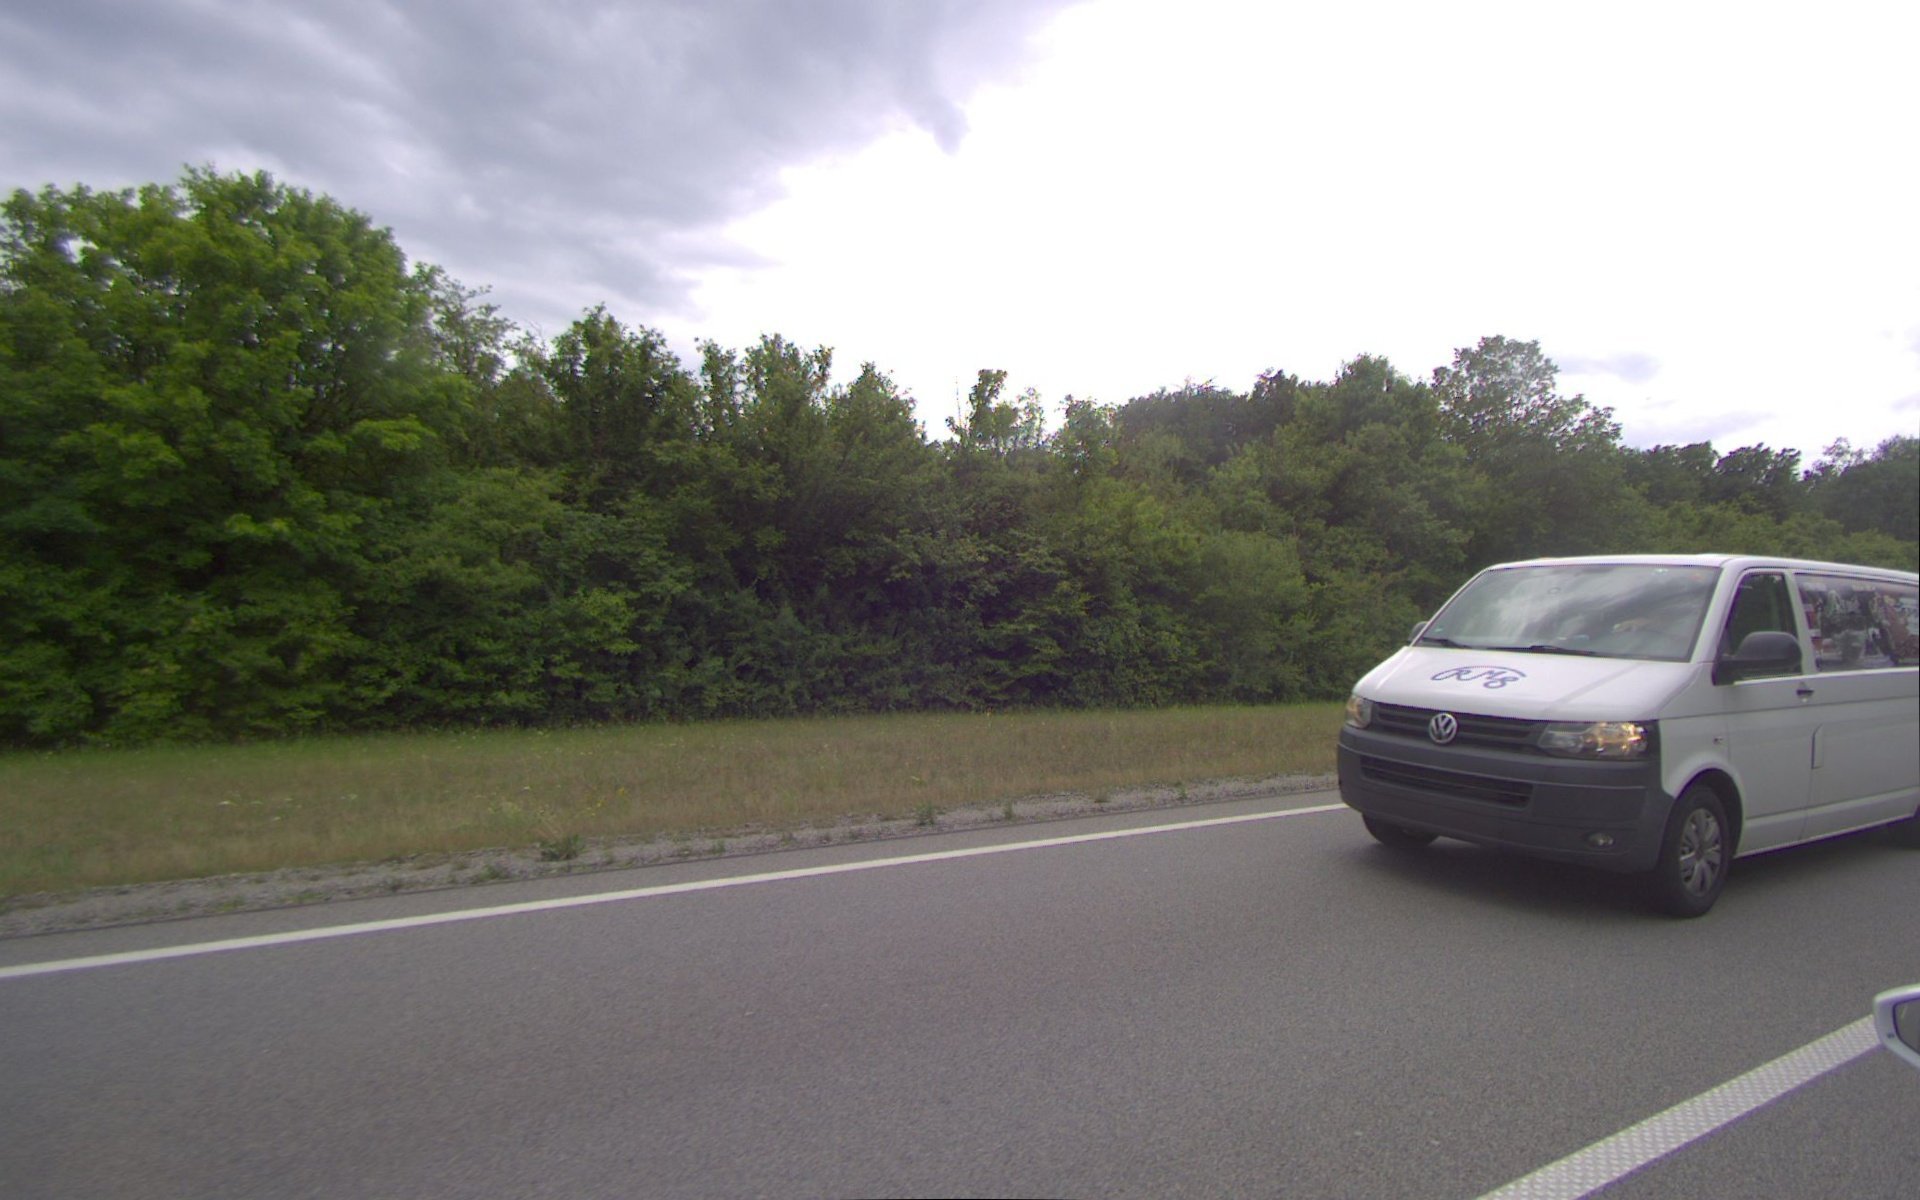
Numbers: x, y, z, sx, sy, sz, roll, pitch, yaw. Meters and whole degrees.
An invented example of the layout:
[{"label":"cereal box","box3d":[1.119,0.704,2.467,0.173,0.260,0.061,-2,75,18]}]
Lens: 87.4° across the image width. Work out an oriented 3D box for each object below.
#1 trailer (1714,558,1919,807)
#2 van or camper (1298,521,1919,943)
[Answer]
[{"label":"trailer","box3d":[8.743,0.674,9.188,3.740,1.918,1.615,2,0,-30]},{"label":"van or camper","box3d":[4.866,0.656,6.743,5.299,1.918,1.912,2,0,-30]}]
